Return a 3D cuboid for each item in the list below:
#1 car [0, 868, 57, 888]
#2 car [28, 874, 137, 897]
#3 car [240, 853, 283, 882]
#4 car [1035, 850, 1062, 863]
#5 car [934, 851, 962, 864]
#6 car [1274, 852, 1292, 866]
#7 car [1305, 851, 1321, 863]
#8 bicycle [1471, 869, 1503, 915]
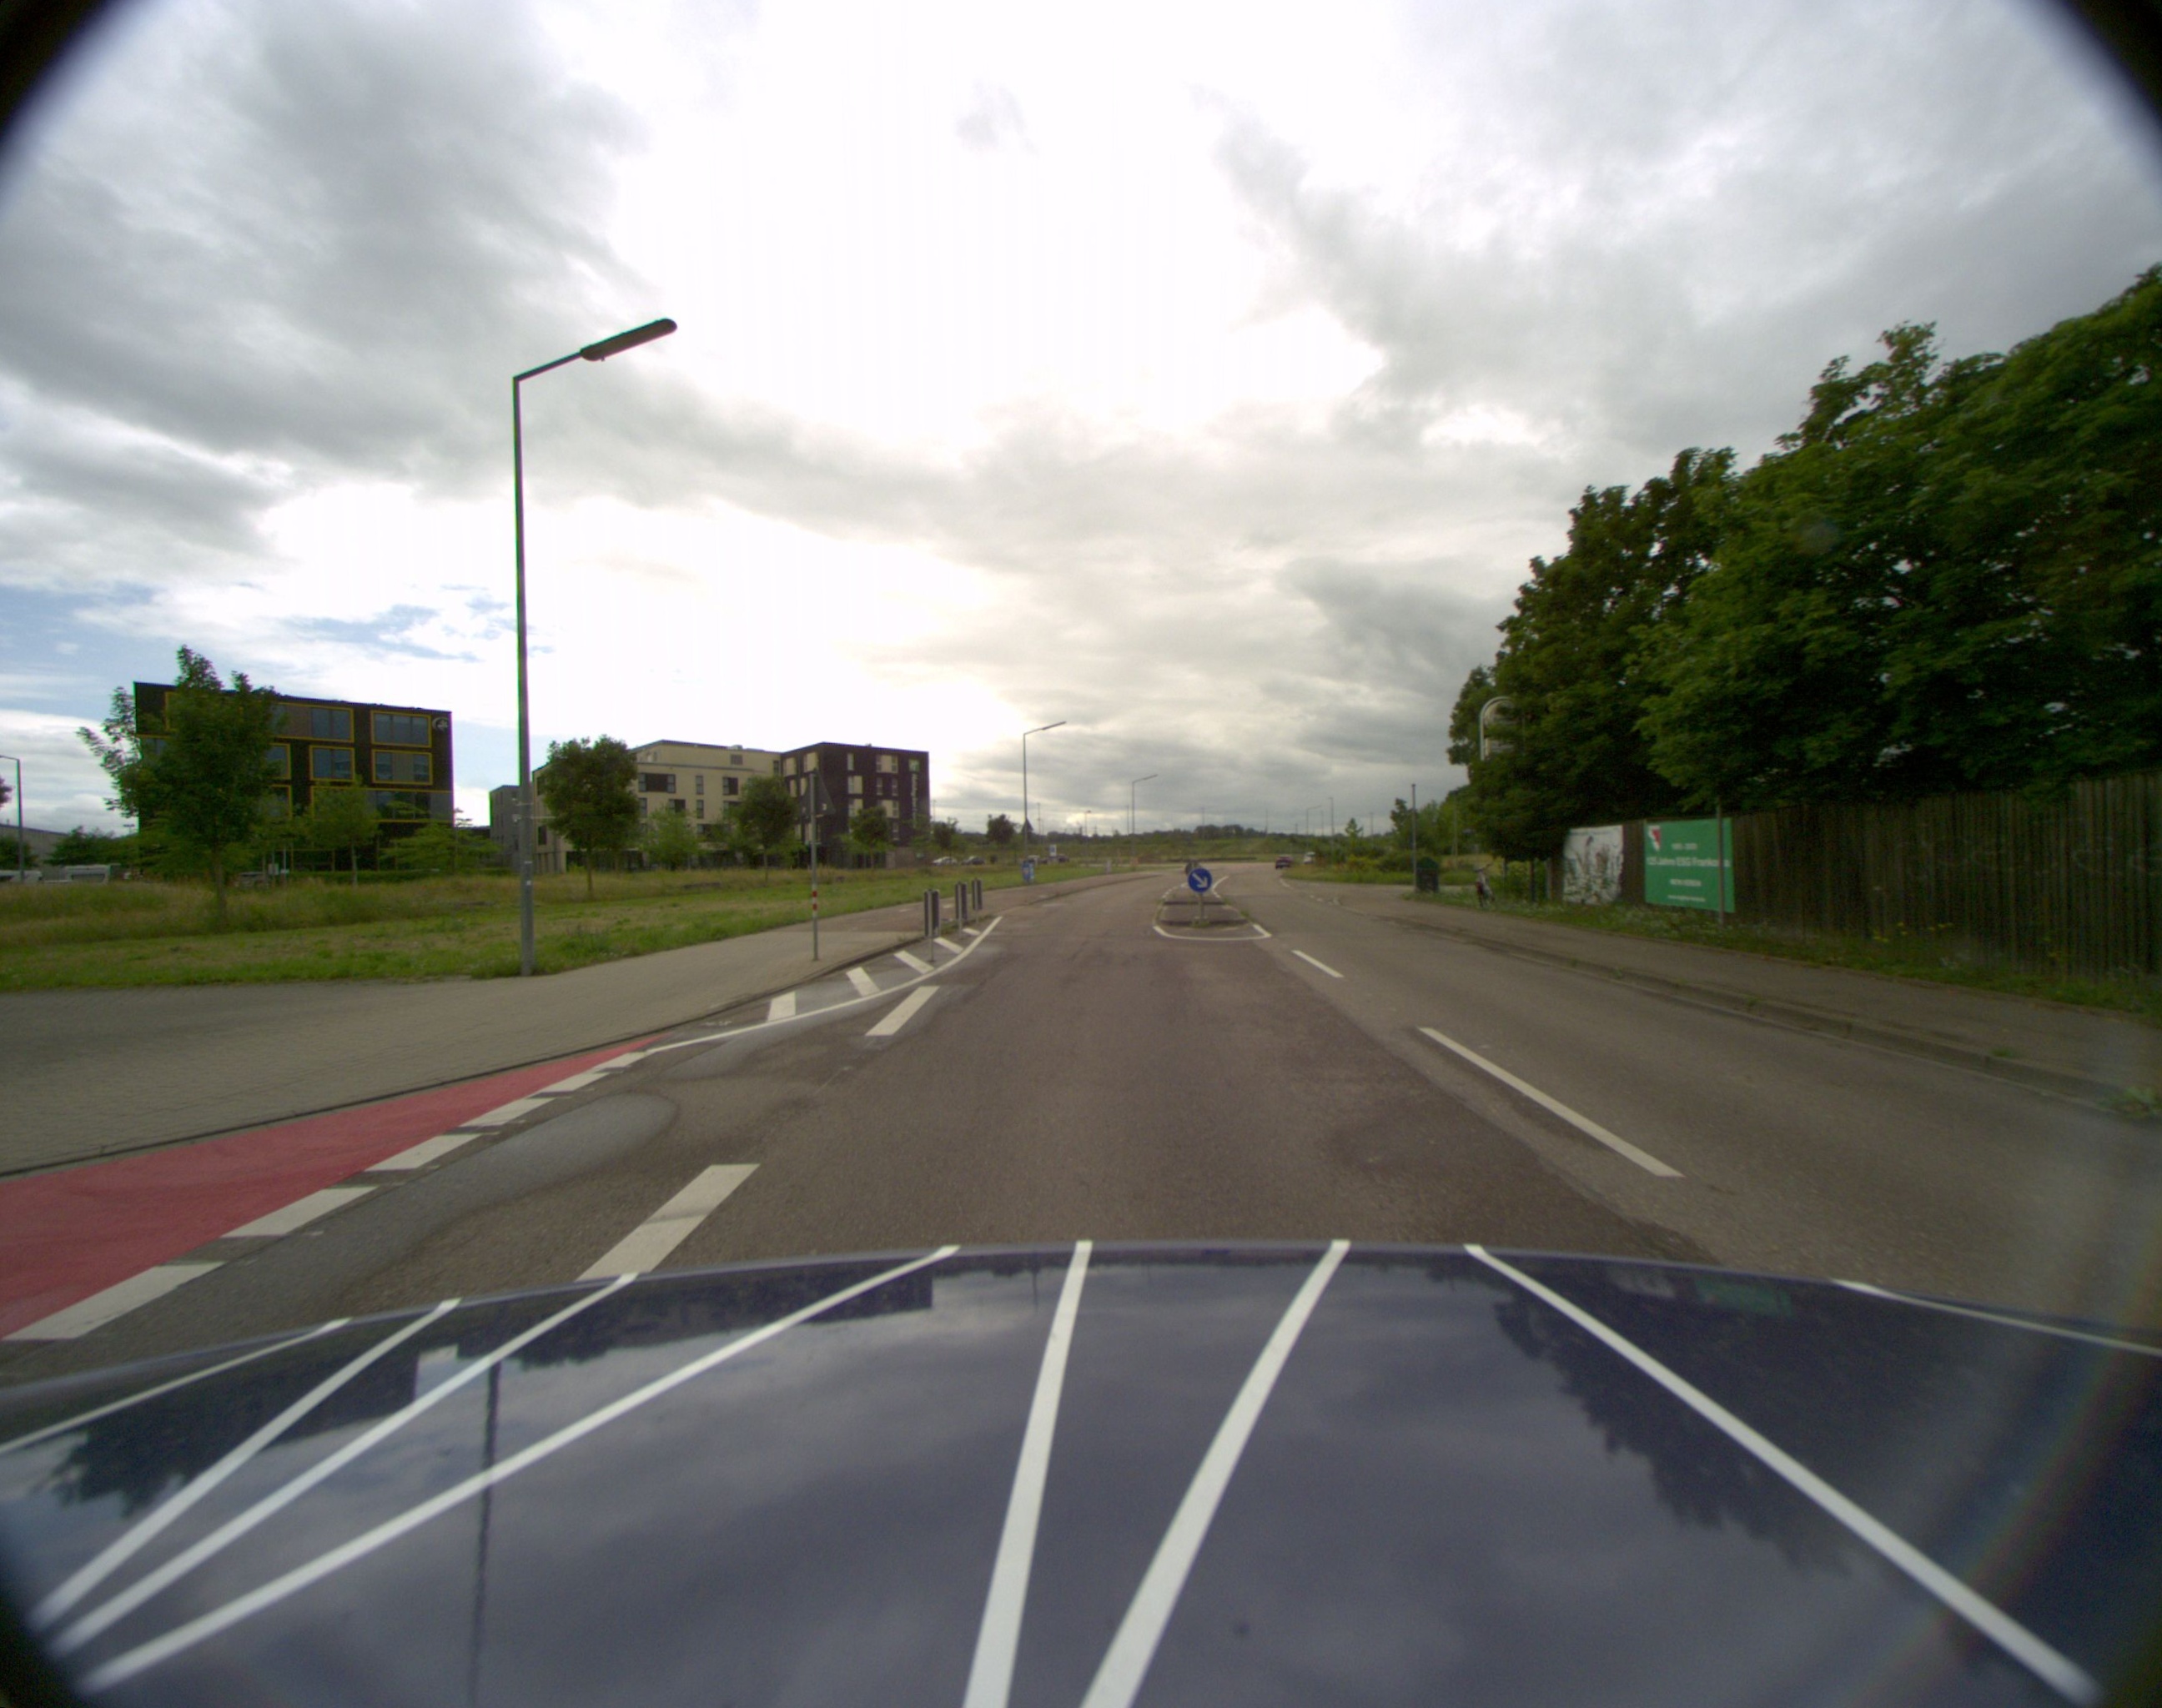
[{"bbox_3d":[-112.154,2.544,80.568,1.994,2.002,4.008,-1,1,43],"label":"car"},{"bbox_3d":[-64.804,2.029,49.416,4.008,1.324,1.559,-1,0,-40],"label":"car"},{"bbox_3d":[-58.479,0.931,54.245,3.988,2.002,2.004,-1,1,43],"label":"car"},{"bbox_3d":[-5.261,0.361,123.010,1.994,2.002,4.008,0,1,44],"label":"car"},{"bbox_3d":[-21.206,0.482,121.417,1.994,2.002,4.008,0,1,44],"label":"car"},{"bbox_3d":[22.058,0.497,82.923,1.741,1.444,4.004,-1,0,13],"label":"car"},{"bbox_3d":[29.293,0.389,96.011,1.840,1.527,4.005,-1,0,18],"label":"car"},{"bbox_3d":[10.113,0.920,18.889,0.582,0.992,1.773,-3,0,30],"label":"bicycle"}]
